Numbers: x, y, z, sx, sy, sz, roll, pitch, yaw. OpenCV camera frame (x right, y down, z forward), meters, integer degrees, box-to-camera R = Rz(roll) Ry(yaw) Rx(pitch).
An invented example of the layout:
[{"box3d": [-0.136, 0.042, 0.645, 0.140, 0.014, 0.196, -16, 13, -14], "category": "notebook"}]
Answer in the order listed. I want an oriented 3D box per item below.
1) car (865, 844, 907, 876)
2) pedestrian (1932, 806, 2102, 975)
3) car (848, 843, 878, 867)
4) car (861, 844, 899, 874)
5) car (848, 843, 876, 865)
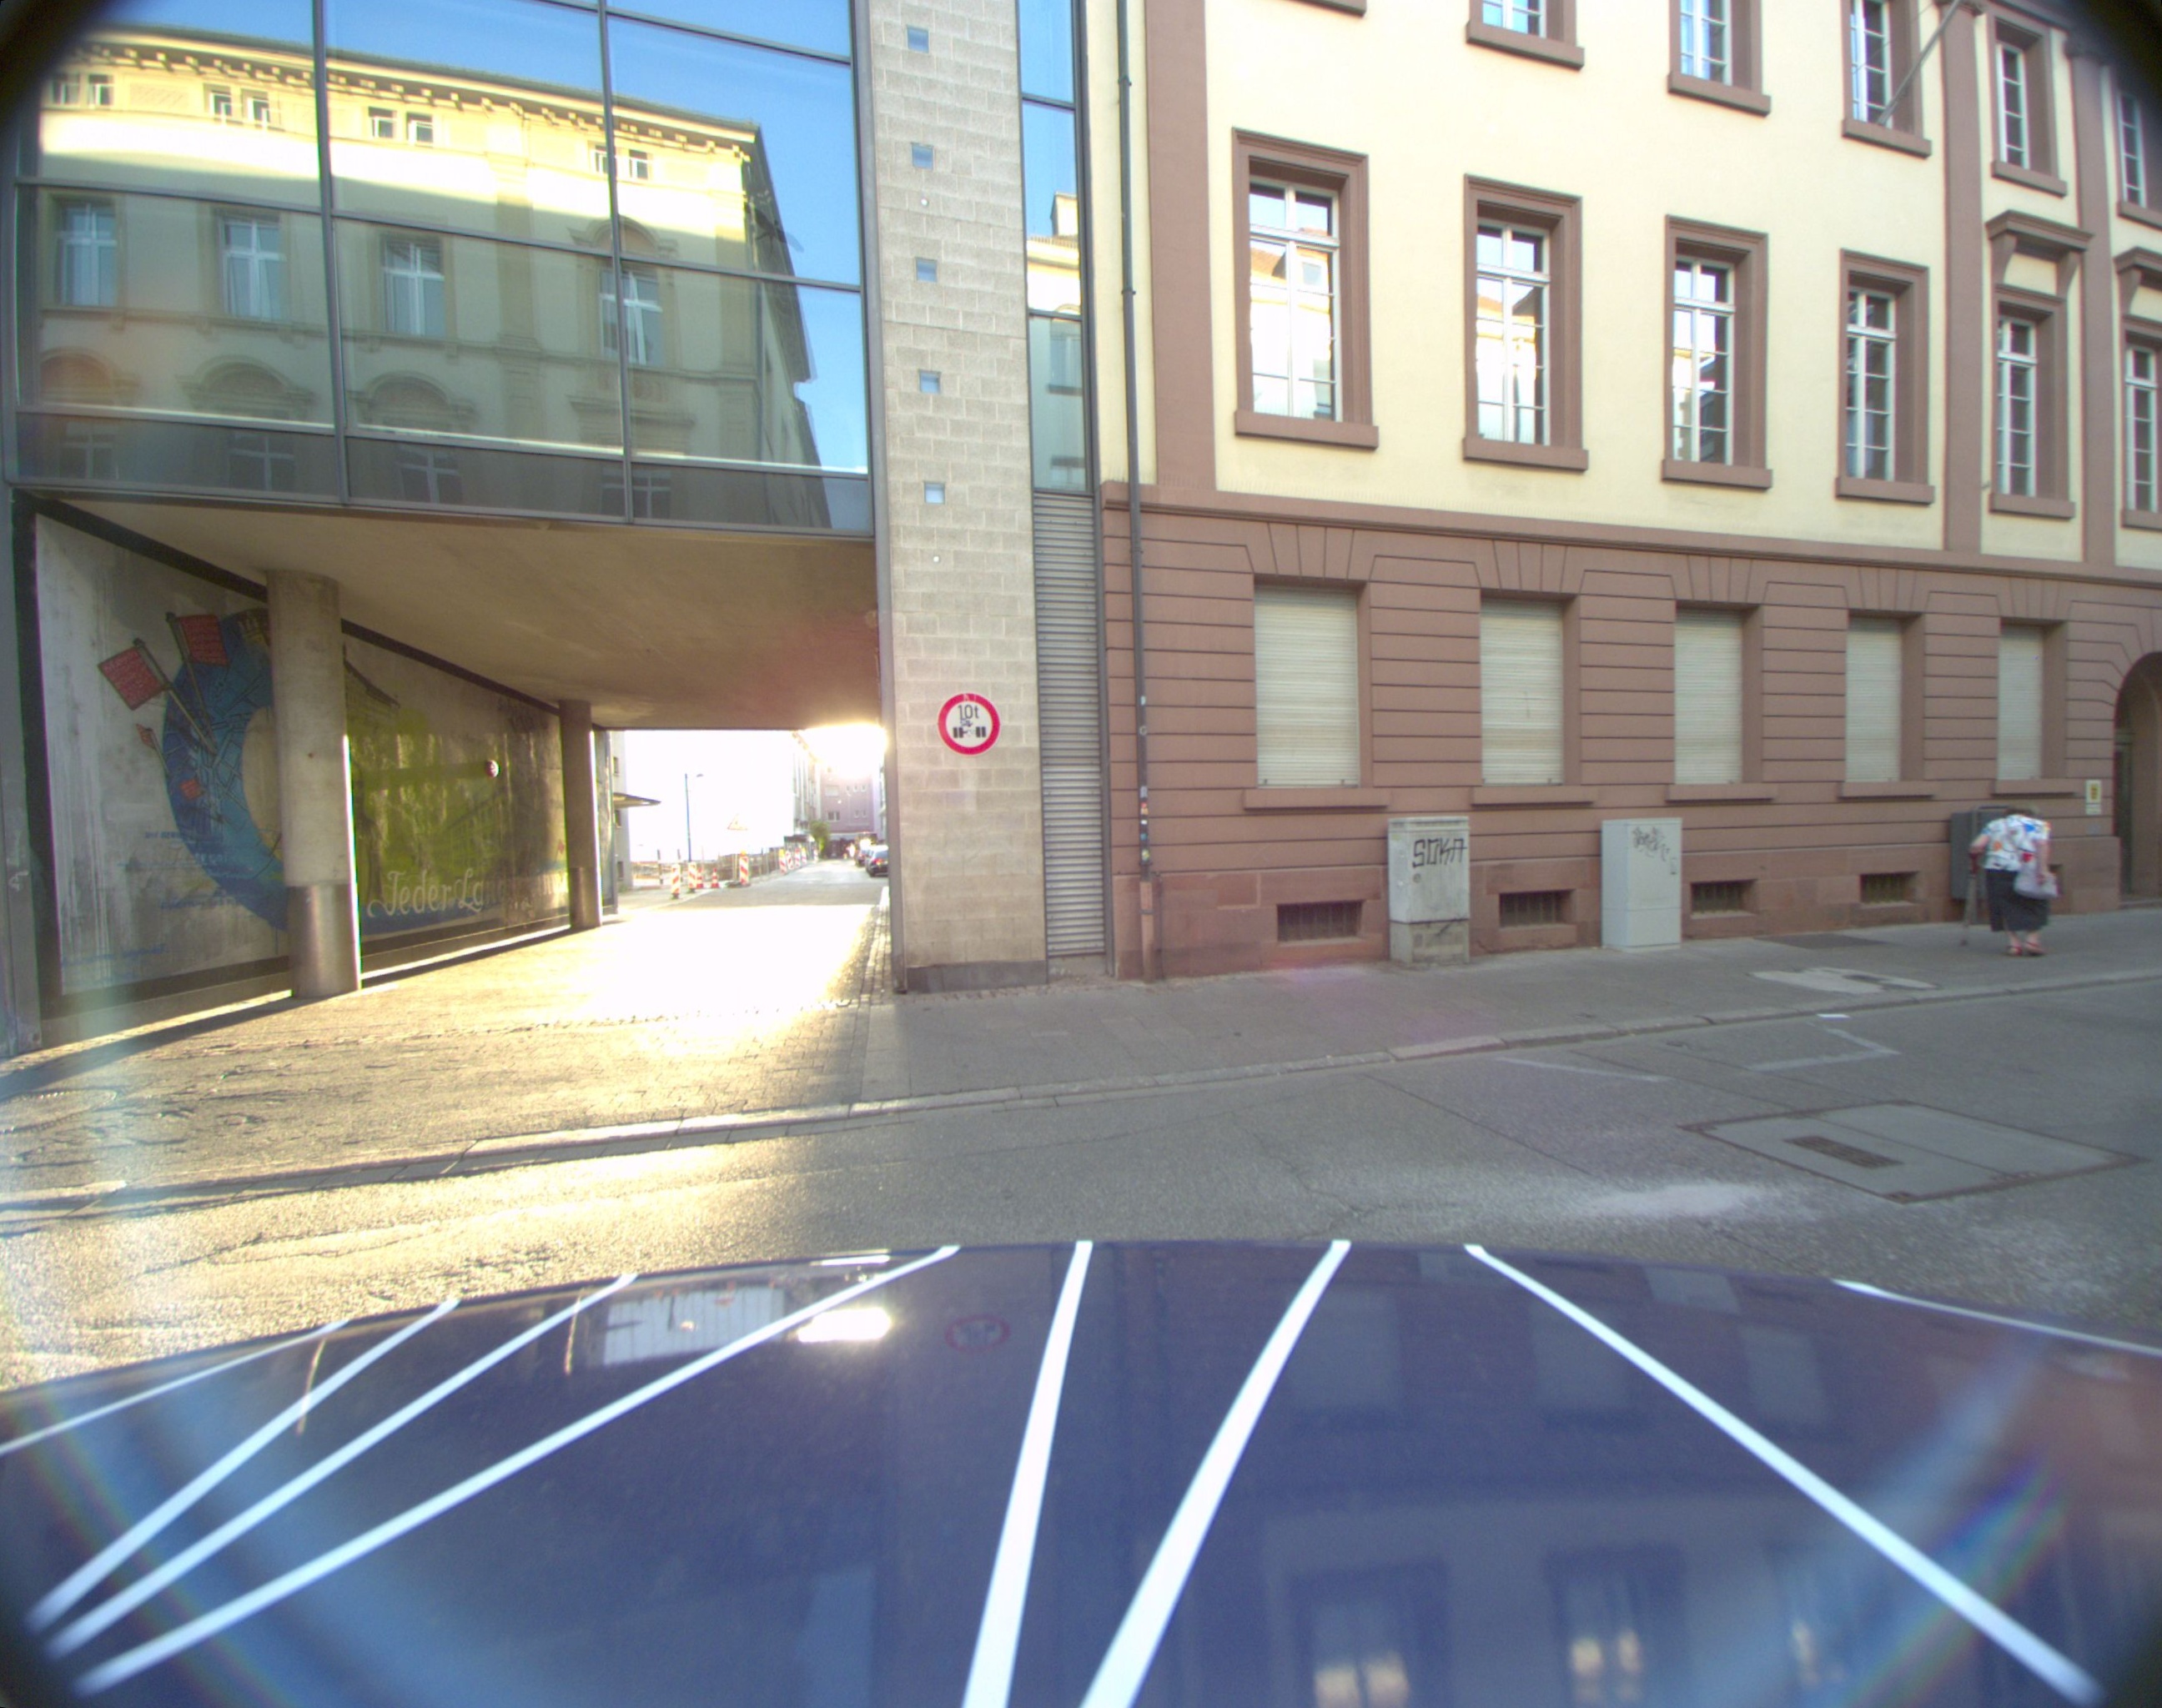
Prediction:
[{"box3d": [-9.746, 0.287, 37.909, 1.603, 1.484, 3.438, -2, 1, -21], "category": "car"}, {"box3d": [9.831, 0.347, 8.009, 0.931, 1.662, 0.811, -2, 2, -15], "category": "pedestrian"}, {"box3d": [-14.591, 0.064, 50.830, 1.603, 1.484, 3.438, -2, 1, -21], "category": "car"}, {"box3d": [-10.969, 0.257, 41.337, 1.603, 1.484, 3.438, -2, 1, -21], "category": "car"}, {"box3d": [-15.970, -0.010, 55.409, 1.603, 1.484, 3.438, -2, 1, -21], "category": "car"}]
